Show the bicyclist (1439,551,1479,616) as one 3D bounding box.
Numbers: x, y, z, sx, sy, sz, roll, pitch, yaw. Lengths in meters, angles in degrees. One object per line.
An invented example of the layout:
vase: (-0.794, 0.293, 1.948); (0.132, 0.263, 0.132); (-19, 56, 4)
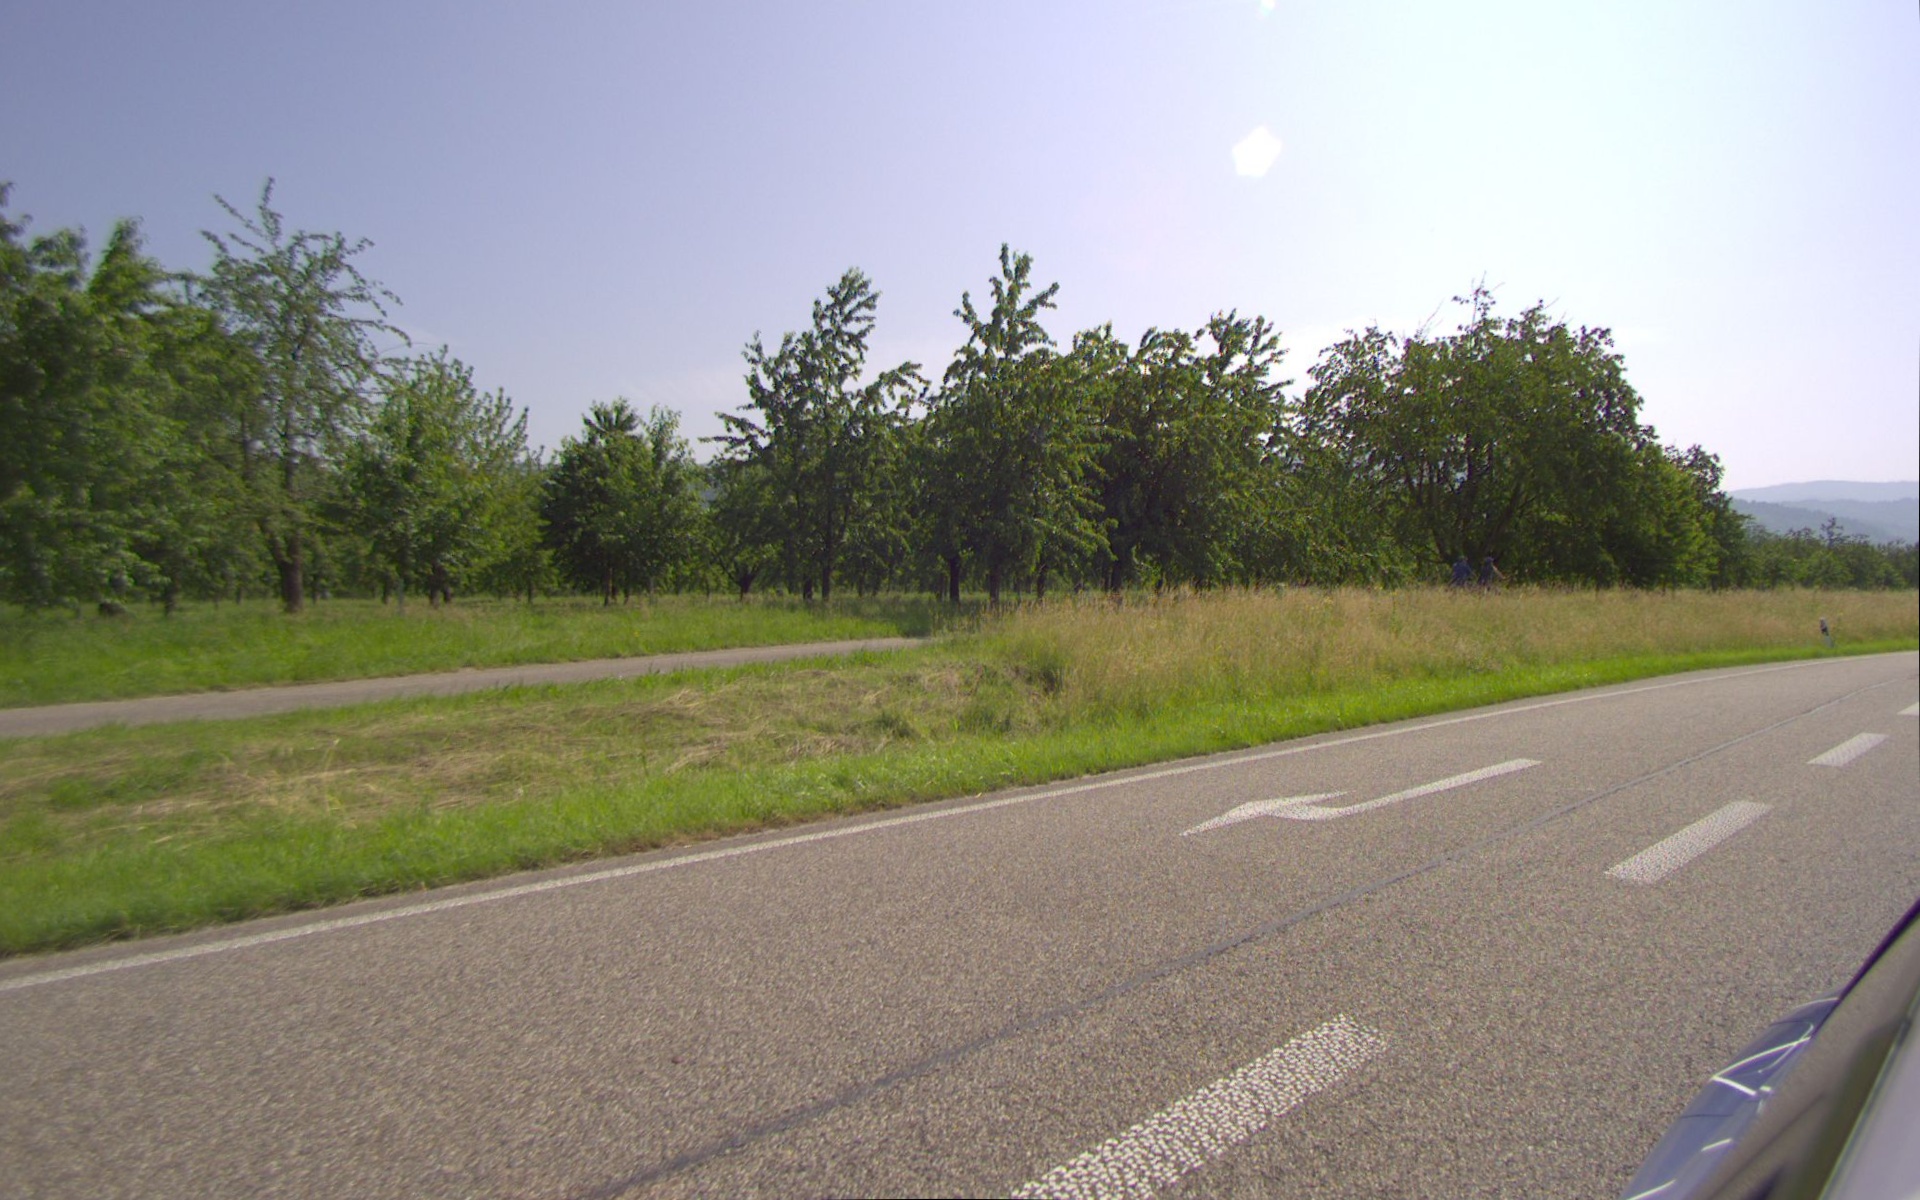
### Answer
bicyclist: (15.211, -0.511, 30.862); (0.812, 1.953, 0.752); (0, 1, -34)

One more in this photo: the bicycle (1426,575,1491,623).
bicycle: (15.209, -0.038, 30.872); (2.178, 1.436, 0.752); (0, 1, -34)

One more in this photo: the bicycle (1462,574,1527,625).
bicycle: (15.906, -0.023, 30.094); (2.178, 1.436, 0.752); (0, 1, -34)

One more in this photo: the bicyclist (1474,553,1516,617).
bicyclist: (15.898, -0.453, 30.081); (0.852, 1.890, 0.752); (0, 1, -34)
